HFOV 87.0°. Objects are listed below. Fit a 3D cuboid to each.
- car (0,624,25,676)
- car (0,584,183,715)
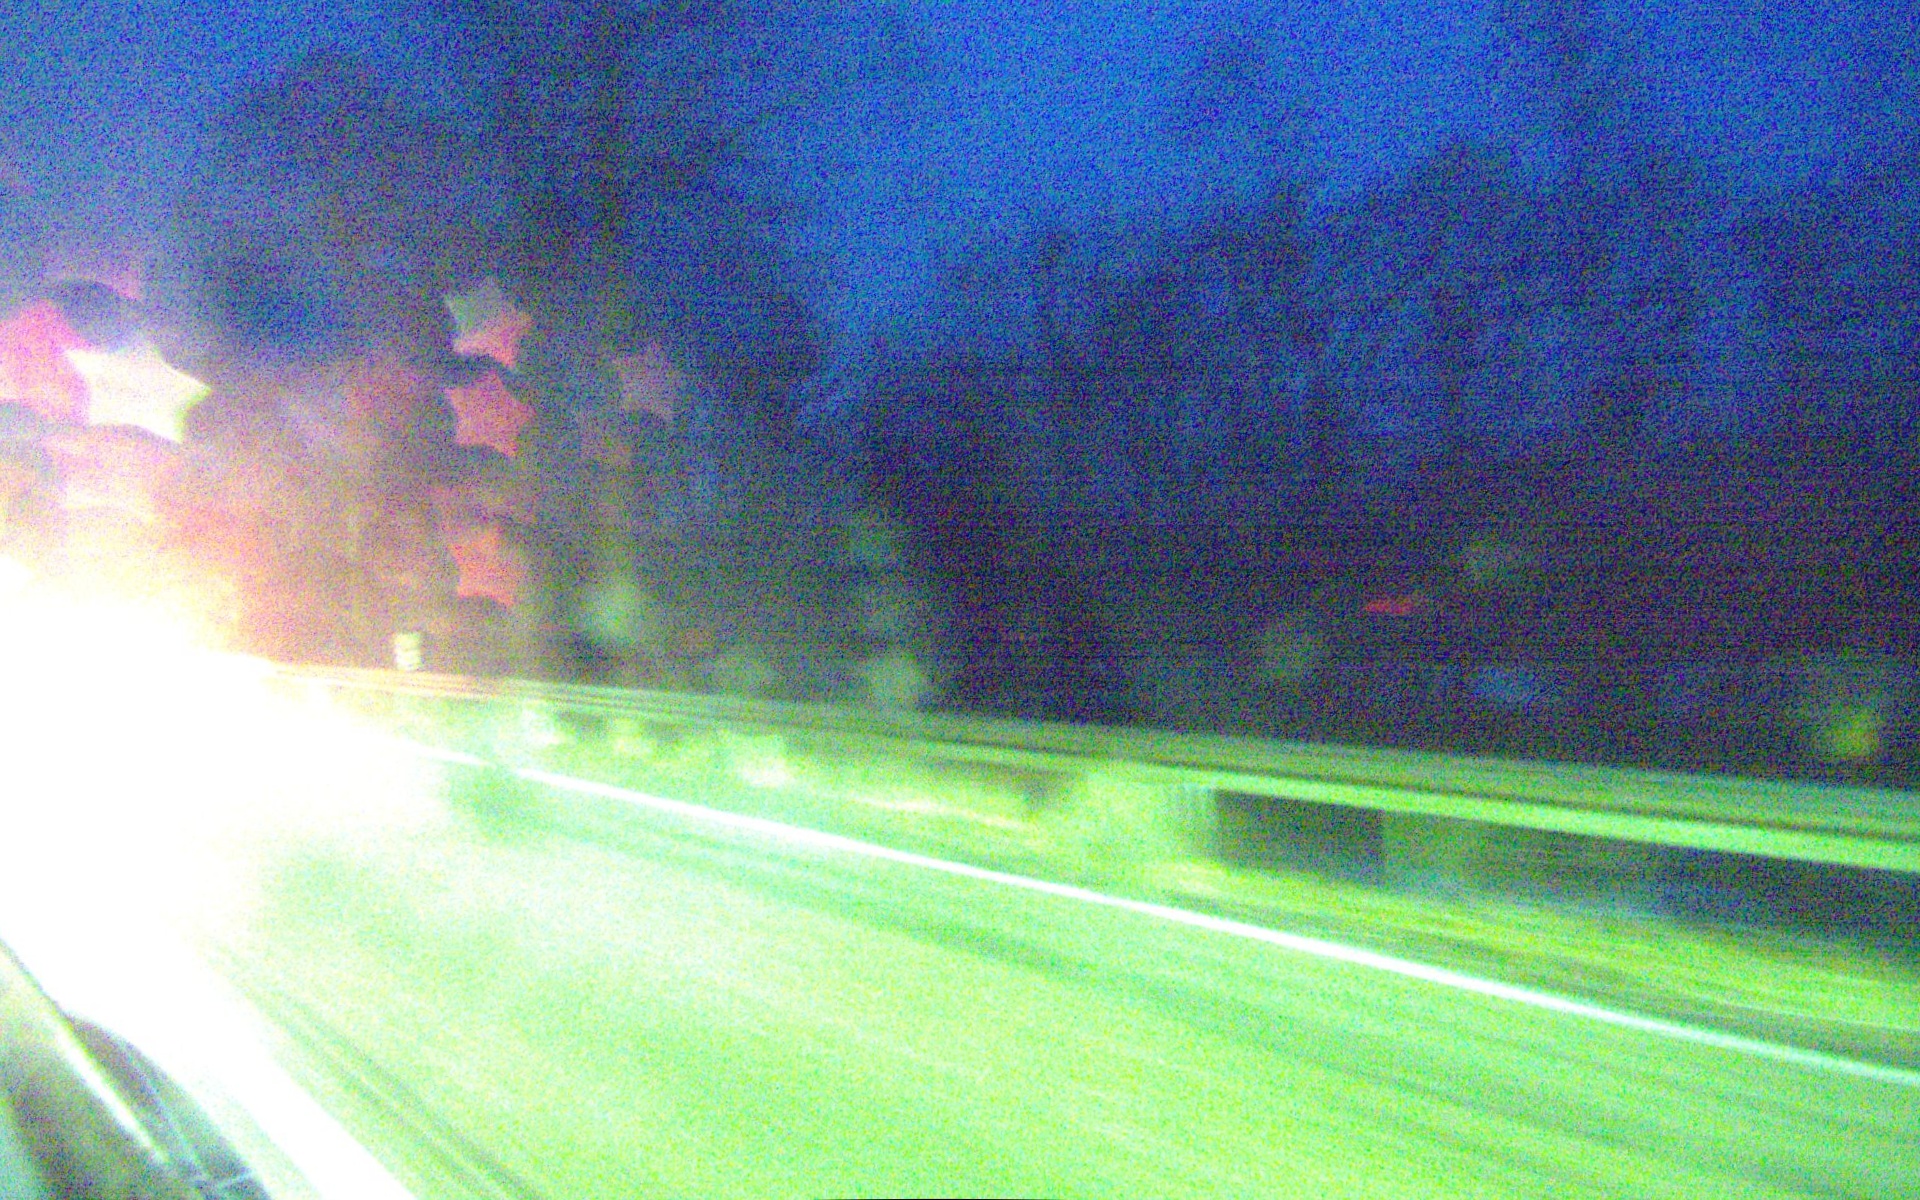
[{"bbox_3d":[-29.704,1.525,30.493,3.992,1.500,1.832,-2,0,42],"label":"car"},{"bbox_3d":[-15.781,0.830,18.308,4.344,2.084,1.972,-2,-1,42],"label":"car"}]
